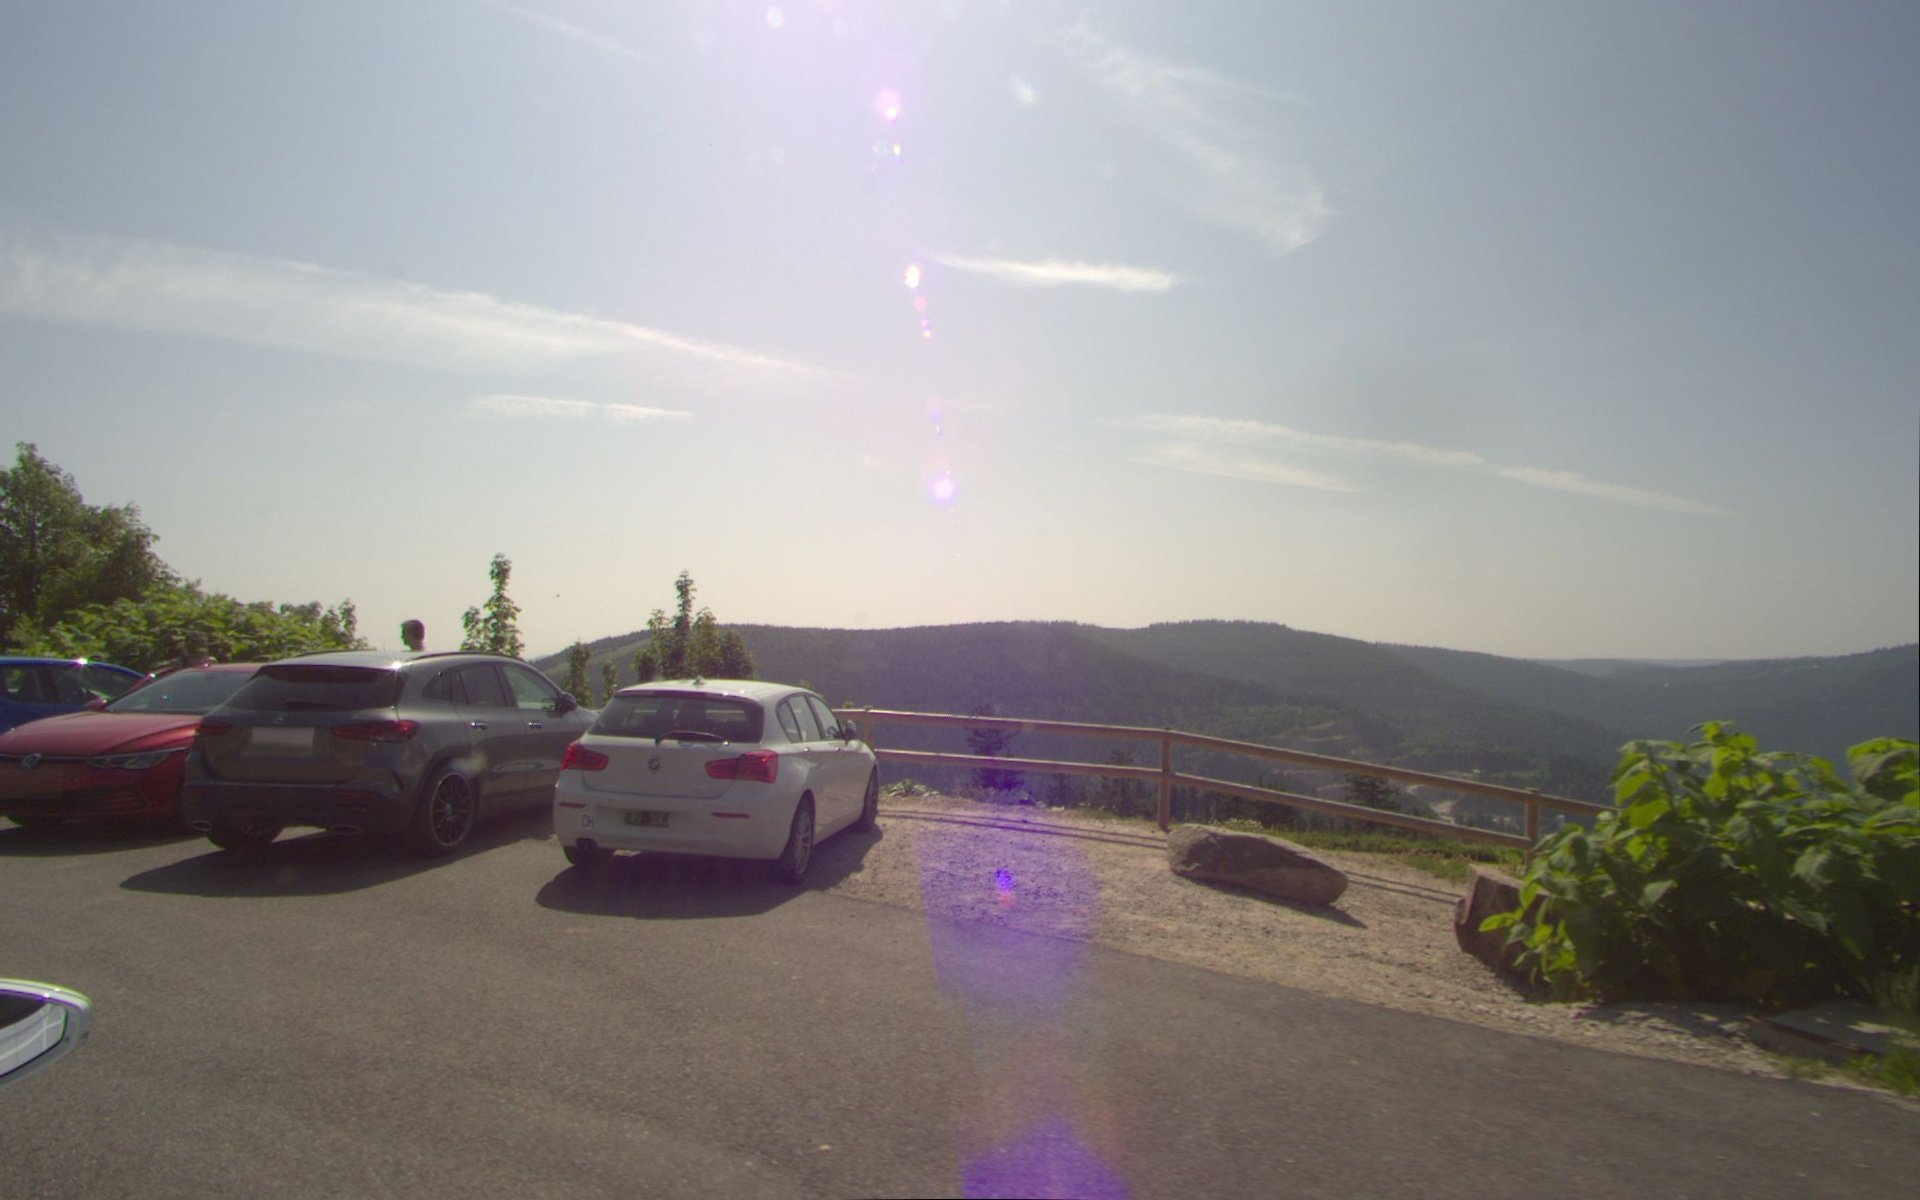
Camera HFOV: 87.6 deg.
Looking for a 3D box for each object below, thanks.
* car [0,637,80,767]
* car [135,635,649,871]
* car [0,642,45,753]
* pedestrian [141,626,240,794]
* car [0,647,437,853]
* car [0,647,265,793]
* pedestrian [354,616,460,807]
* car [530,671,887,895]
[{"bbox_3d":[-13.224,1.194,11.745,1.880,1.632,4.003,0,-4,10],"label":"car"},{"bbox_3d":[-4.675,1.254,9.220,1.870,1.586,4.417,1,-5,5],"label":"car"},{"bbox_3d":[-15.337,1.306,13.442,1.674,1.608,4.162,0,-5,19],"label":"car"},{"bbox_3d":[-8.279,1.175,10.788,0.556,1.744,0.506,0,-5,3],"label":"pedestrian"},{"bbox_3d":[-7.188,1.302,9.664,1.806,1.527,4.005,1,-5,6],"label":"car"},{"bbox_3d":[-10.484,1.352,11.706,1.618,1.513,3.594,0,-5,16],"label":"car"},{"bbox_3d":[-5.807,1.155,10.540,0.667,1.922,0.610,-1,-5,22],"label":"pedestrian"},{"bbox_3d":[-1.797,1.362,8.521,1.625,1.401,4.006,1,-5,6],"label":"car"}]
